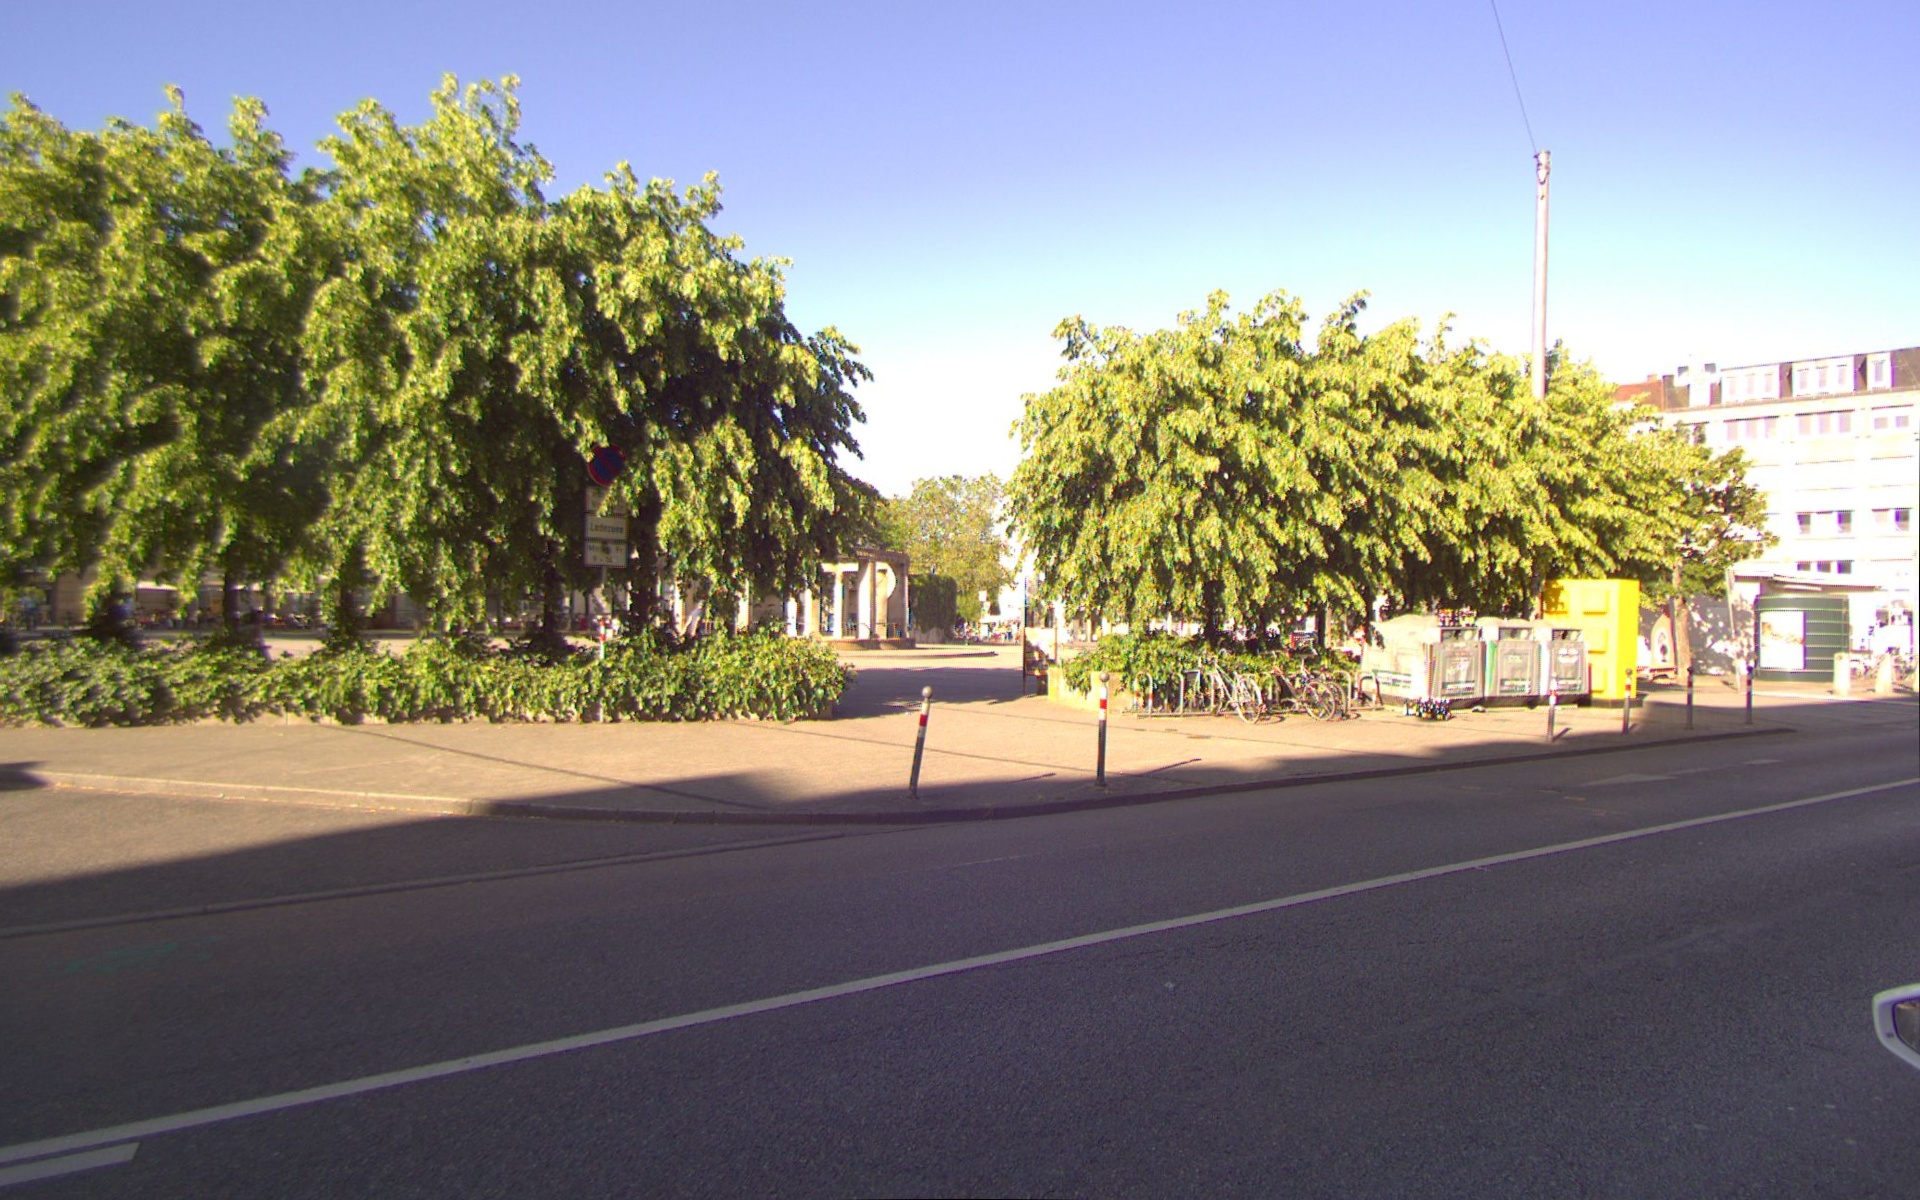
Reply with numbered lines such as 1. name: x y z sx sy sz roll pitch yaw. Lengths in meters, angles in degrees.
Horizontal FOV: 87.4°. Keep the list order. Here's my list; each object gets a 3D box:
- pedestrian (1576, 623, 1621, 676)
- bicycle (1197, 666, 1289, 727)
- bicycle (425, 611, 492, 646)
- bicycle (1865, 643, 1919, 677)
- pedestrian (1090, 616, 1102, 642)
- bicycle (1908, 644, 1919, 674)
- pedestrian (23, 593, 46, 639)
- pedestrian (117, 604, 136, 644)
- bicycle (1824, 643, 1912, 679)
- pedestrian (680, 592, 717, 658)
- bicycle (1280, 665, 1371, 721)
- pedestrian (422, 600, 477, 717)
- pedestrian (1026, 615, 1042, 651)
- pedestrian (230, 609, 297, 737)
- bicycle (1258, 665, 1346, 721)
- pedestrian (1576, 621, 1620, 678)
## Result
1. pedestrian: 20.329 1.564 31.991 0.727 1.658 0.983 1 0 -26
2. bicycle: 4.297 1.452 15.358 0.467 0.779 1.653 2 0 -20
3. bicycle: -15.557 0.872 31.156 2.018 1.030 0.504 1 0 16
4. bicycle: 33.161 2.112 35.140 0.796 1.119 2.072 1 -1 -30
5. pedestrian: 9.837 2.089 72.668 0.591 1.816 0.581 1 0 -12
6. bicycle: 37.123 2.247 37.719 0.796 1.119 2.072 1 -1 -30
7. pedestrian: -36.775 0.640 39.913 0.597 1.816 0.576 2 0 -40
8. pedestrian: -37.702 1.086 45.449 0.597 1.816 0.575 2 0 -44
9. bicycle: 30.856 2.065 34.166 0.796 1.119 2.072 1 -1 -30
10. pedestrian: -7.151 0.679 27.461 0.918 1.775 0.728 2 0 -15
11. bicycle: 5.956 1.495 16.426 0.468 0.779 1.468 2 0 -27
12. pedestrian: -8.420 0.946 16.576 0.574 1.881 0.598 1 0 41
13. pedestrian: 4.255 1.915 57.789 0.670 2.040 0.579 2 0 -23
14. pedestrian: -10.593 1.097 15.301 0.722 1.881 0.578 2 0 -28
15. bicycle: 5.471 1.476 16.156 0.435 0.779 1.469 2 0 -25
16. pedestrian: 20.227 1.564 31.847 0.734 1.748 0.898 1 0 -26
